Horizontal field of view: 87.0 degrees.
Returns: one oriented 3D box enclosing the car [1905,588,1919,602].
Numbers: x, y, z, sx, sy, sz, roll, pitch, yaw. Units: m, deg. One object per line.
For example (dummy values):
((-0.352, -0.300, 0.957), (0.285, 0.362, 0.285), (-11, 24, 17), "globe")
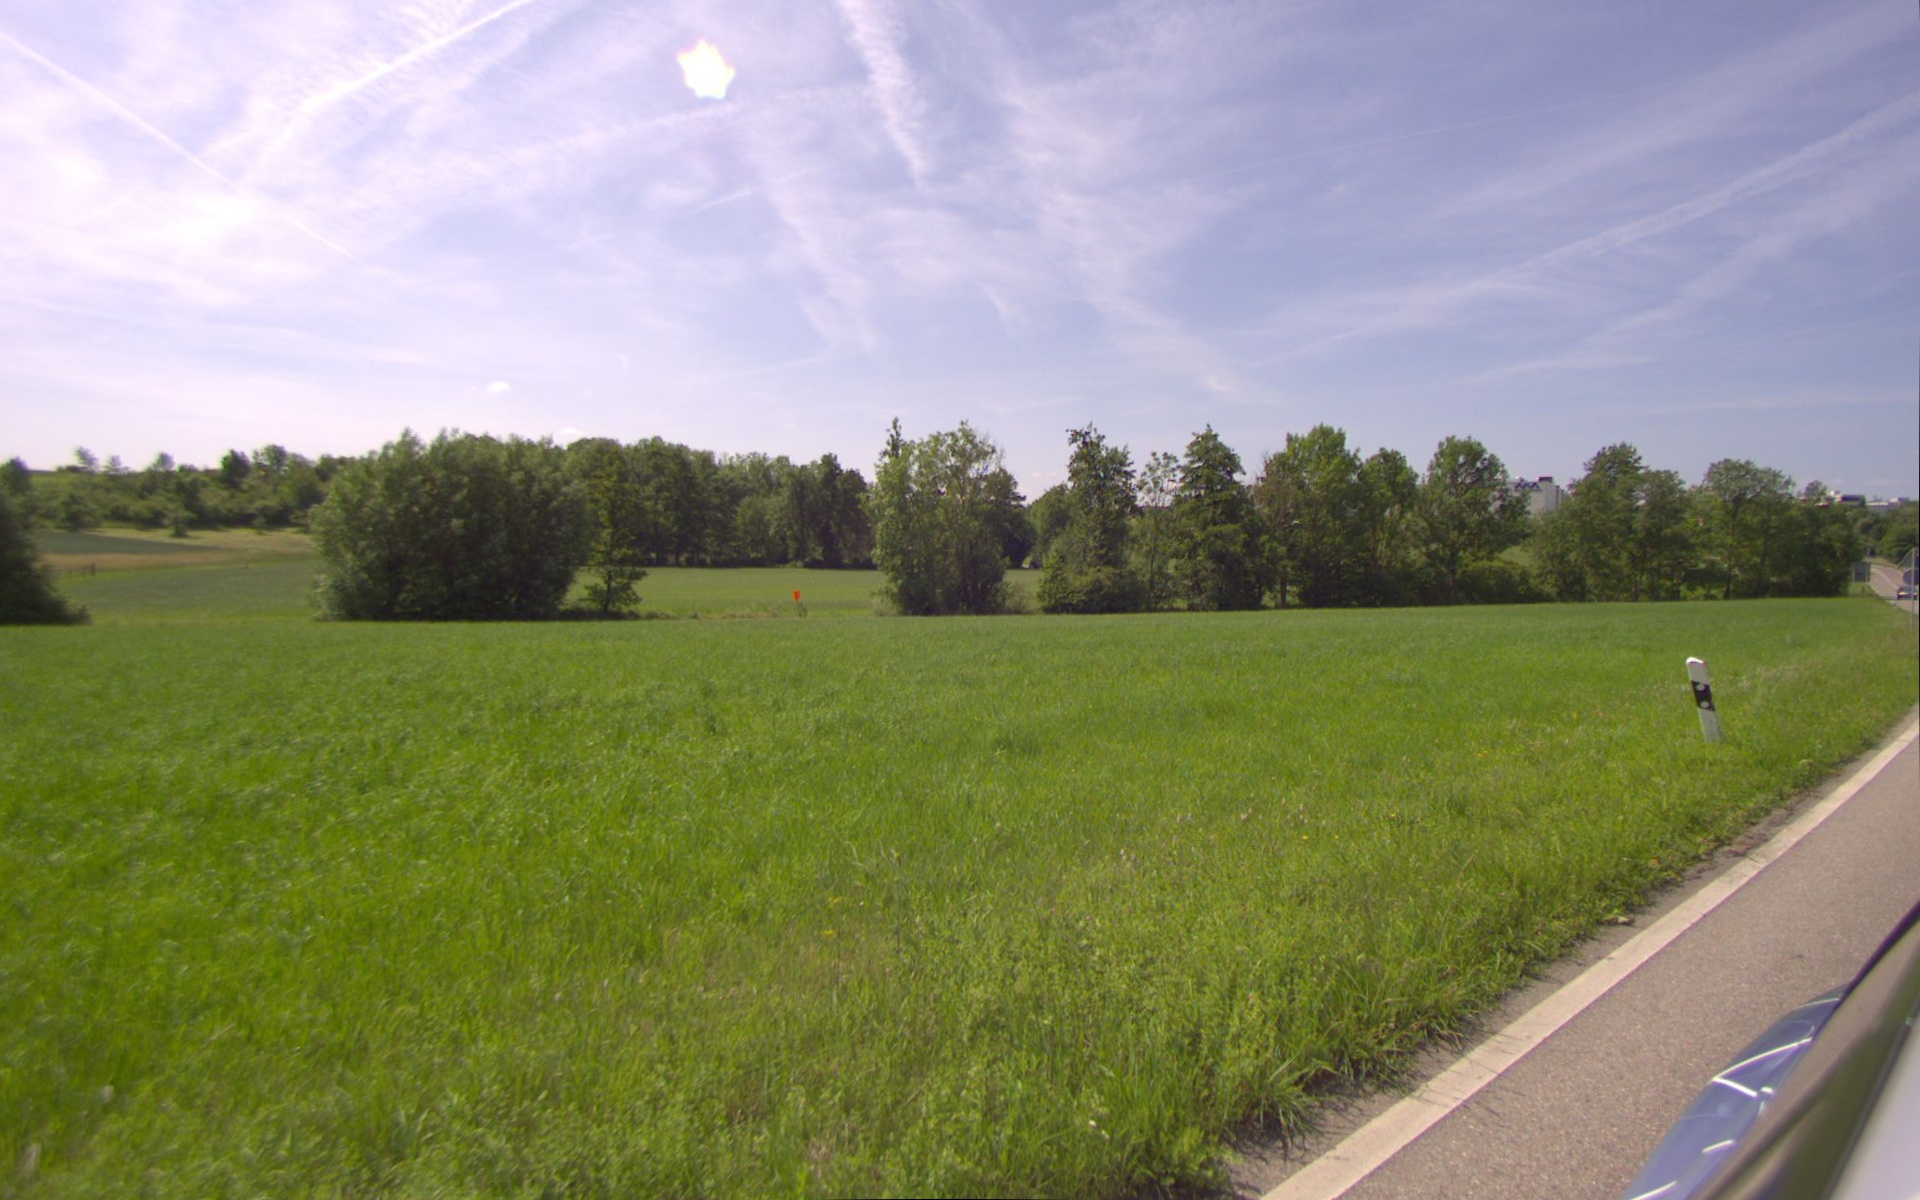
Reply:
((114.087, -0.631, 120.589), (1.992, 1.605, 3.940), (0, 0, 41), "car")
